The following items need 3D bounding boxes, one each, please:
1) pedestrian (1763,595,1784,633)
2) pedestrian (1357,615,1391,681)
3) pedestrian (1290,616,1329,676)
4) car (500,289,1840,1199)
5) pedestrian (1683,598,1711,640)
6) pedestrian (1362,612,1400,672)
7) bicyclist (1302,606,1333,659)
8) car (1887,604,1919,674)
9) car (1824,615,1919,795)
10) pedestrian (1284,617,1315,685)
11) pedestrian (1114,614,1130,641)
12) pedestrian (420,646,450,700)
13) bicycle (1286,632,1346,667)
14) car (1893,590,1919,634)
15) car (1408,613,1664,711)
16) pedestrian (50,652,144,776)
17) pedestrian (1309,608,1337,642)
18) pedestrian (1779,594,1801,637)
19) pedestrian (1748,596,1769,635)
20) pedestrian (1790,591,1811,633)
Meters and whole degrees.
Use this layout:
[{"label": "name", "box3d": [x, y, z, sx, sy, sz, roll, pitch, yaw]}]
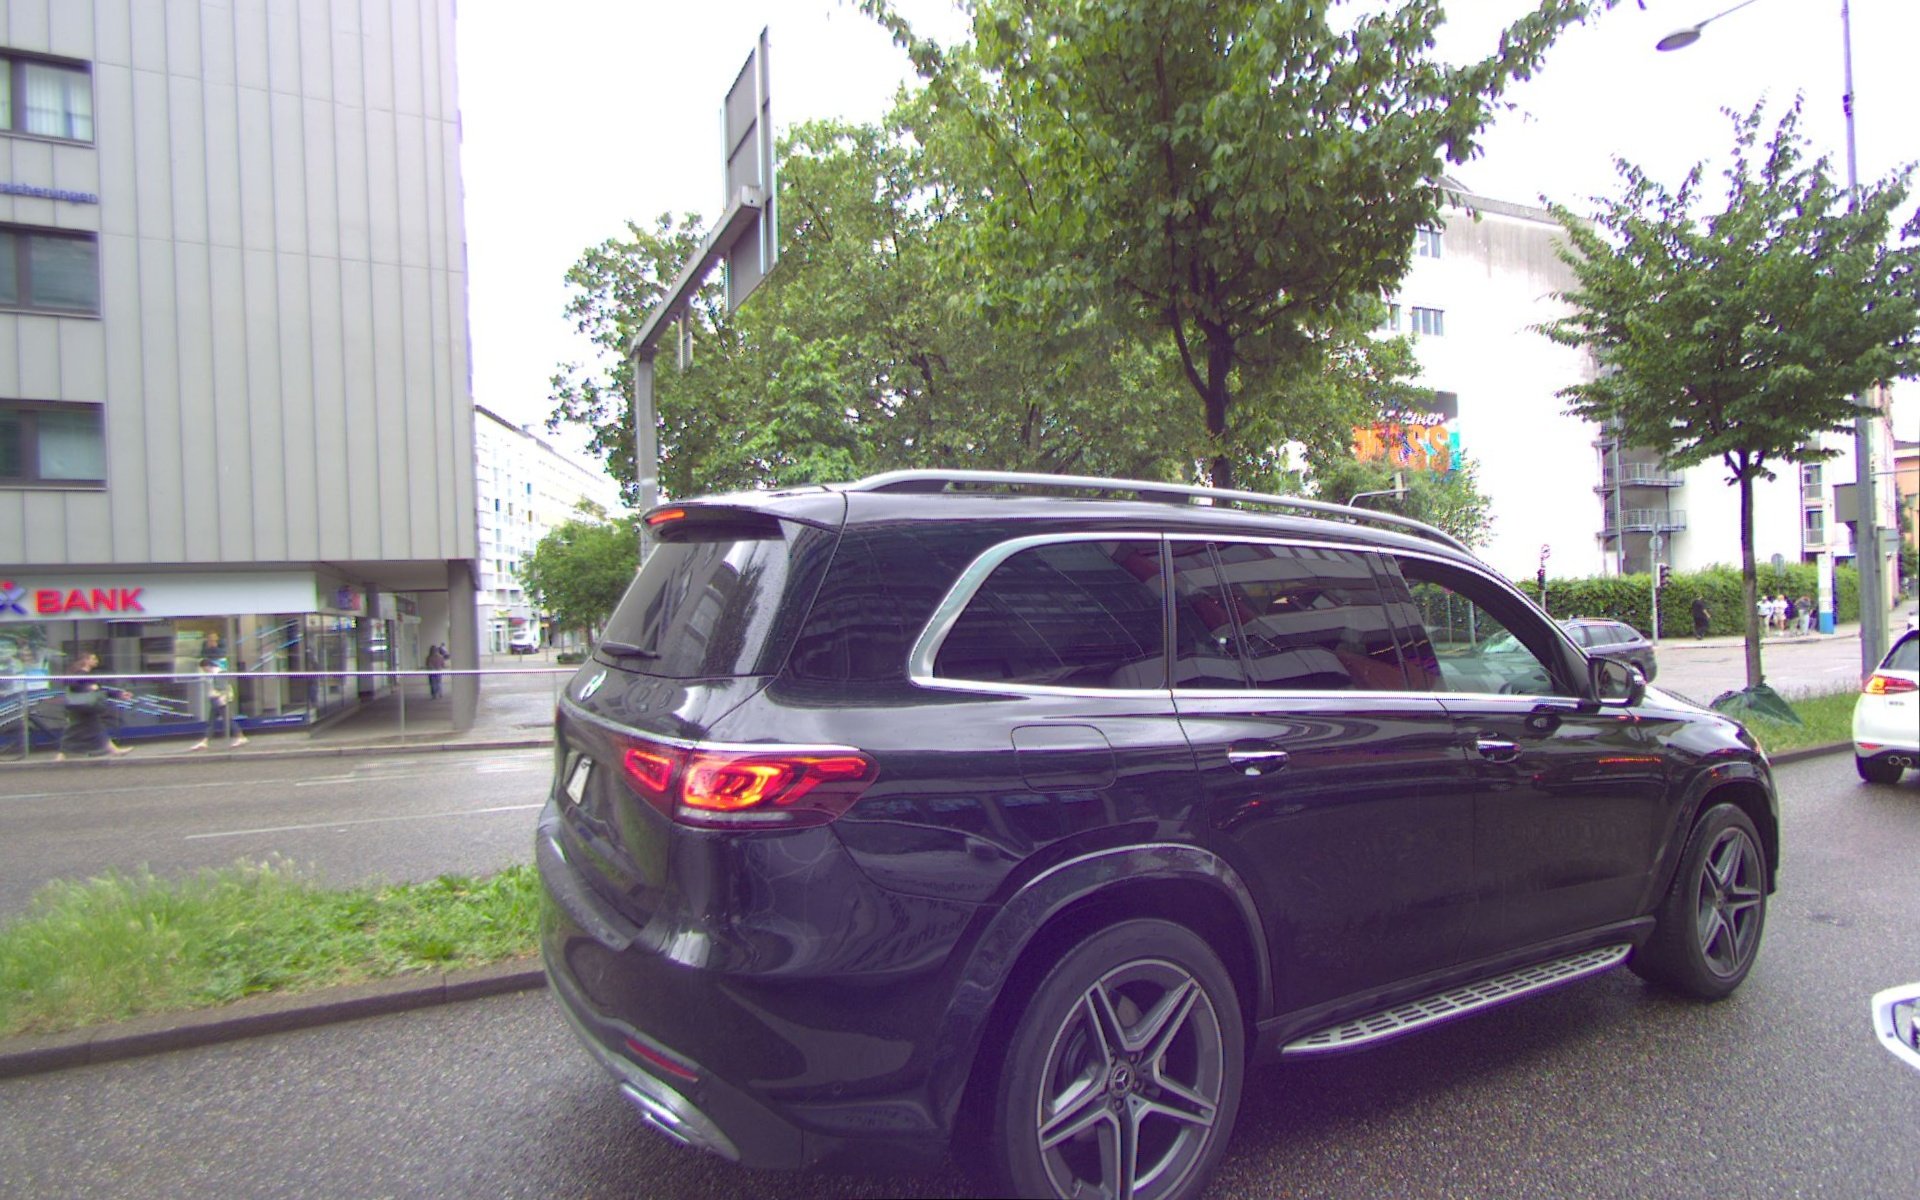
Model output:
[{"label": "pedestrian", "box3d": [35.190, 0.606, 43.454, 0.522, 1.620, 0.576, 2, -1, -36]}, {"label": "pedestrian", "box3d": [10.865, 1.245, 26.373, 0.572, 1.684, 0.554, -2, 0, -30]}, {"label": "pedestrian", "box3d": [10.902, 1.430, 31.338, 0.698, 1.807, 0.922, 2, -1, -19]}, {"label": "car", "box3d": [1.132, 0.515, 3.808, 5.016, 1.895, 1.901, 3, -1, -31]}, {"label": "pedestrian", "box3d": [29.919, 0.762, 40.787, 0.724, 1.664, 0.635, 2, -1, -27]}, {"label": "pedestrian", "box3d": [12.055, 1.200, 28.794, 0.620, 1.684, 0.749, -2, 0, -30]}, {"label": "bicyclist", "box3d": [10.689, 0.980, 30.019, 0.602, 1.550, 0.629, 2, -3, -30]}, {"label": "car", "box3d": [22.072, 0.808, 21.018, 3.694, 1.487, 1.632, -3, -5, 37]}, {"label": "car", "box3d": [9.535, 0.872, 8.952, 3.800, 1.448, 1.768, 0, 0, -32]}, {"label": "pedestrian", "box3d": [8.579, 1.274, 25.412, 0.568, 1.684, 0.559, -1, 0, 2]}, {"label": "pedestrian", "box3d": [10.156, 1.725, 62.983, 0.723, 1.664, 0.635, 2, -1, -23]}, {"label": "pedestrian", "box3d": [-17.157, 2.377, 32.846, 0.719, 1.719, 0.782, 2, -3, -37]}, {"label": "bicycle", "box3d": [10.641, 1.486, 30.026, 1.918, 1.013, 0.612, 2, -3, -31]}, {"label": "car", "box3d": [34.376, 0.419, 35.291, 3.571, 1.506, 1.565, 0, 1, -33]}, {"label": "car", "box3d": [10.442, 1.065, 18.139, 4.674, 1.505, 1.628, -1, -2, -26]}, {"label": "pedestrian", "box3d": [-12.104, 1.581, 14.114, 0.779, 1.659, 0.632, 2, -1, -22]}, {"label": "pedestrian", "box3d": [17.723, 1.224, 49.099, 0.677, 1.599, 1.055, 2, -1, -34]}, {"label": "pedestrian", "box3d": [34.814, 0.647, 42.120, 0.741, 1.771, 0.535, 2, -1, -38]}, {"label": "pedestrian", "box3d": [34.116, 0.649, 42.922, 0.522, 1.620, 0.576, 2, -1, -36]}, {"label": "pedestrian", "box3d": [36.004, 0.532, 43.016, 0.559, 1.771, 0.535, 2, -1, -35]}]
